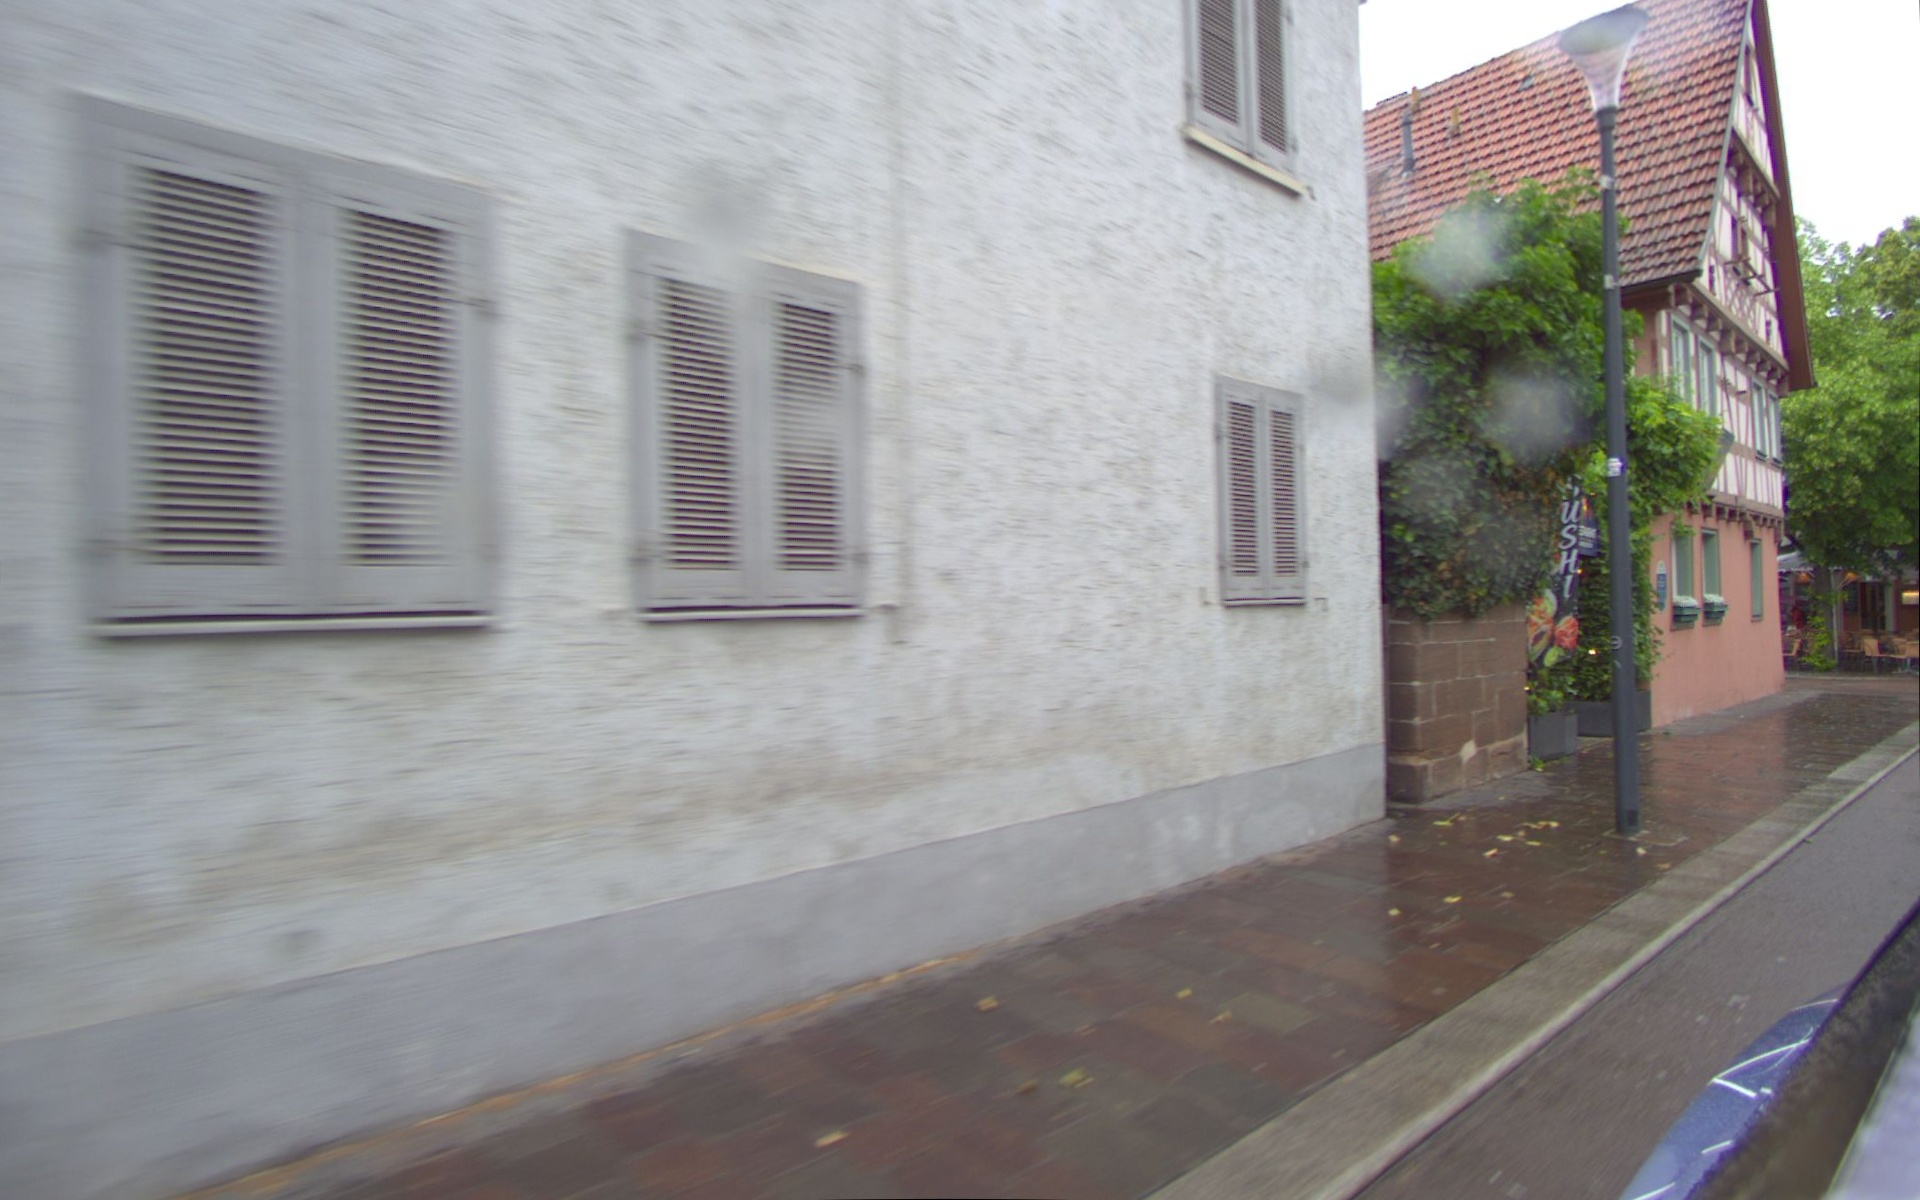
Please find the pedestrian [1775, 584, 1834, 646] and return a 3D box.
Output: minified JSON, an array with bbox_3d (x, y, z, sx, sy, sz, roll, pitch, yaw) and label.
[{"bbox_3d":[24.579,0.438,29.470,0.874,1.735,0.886,-3,-1,4],"label":"pedestrian"}]
